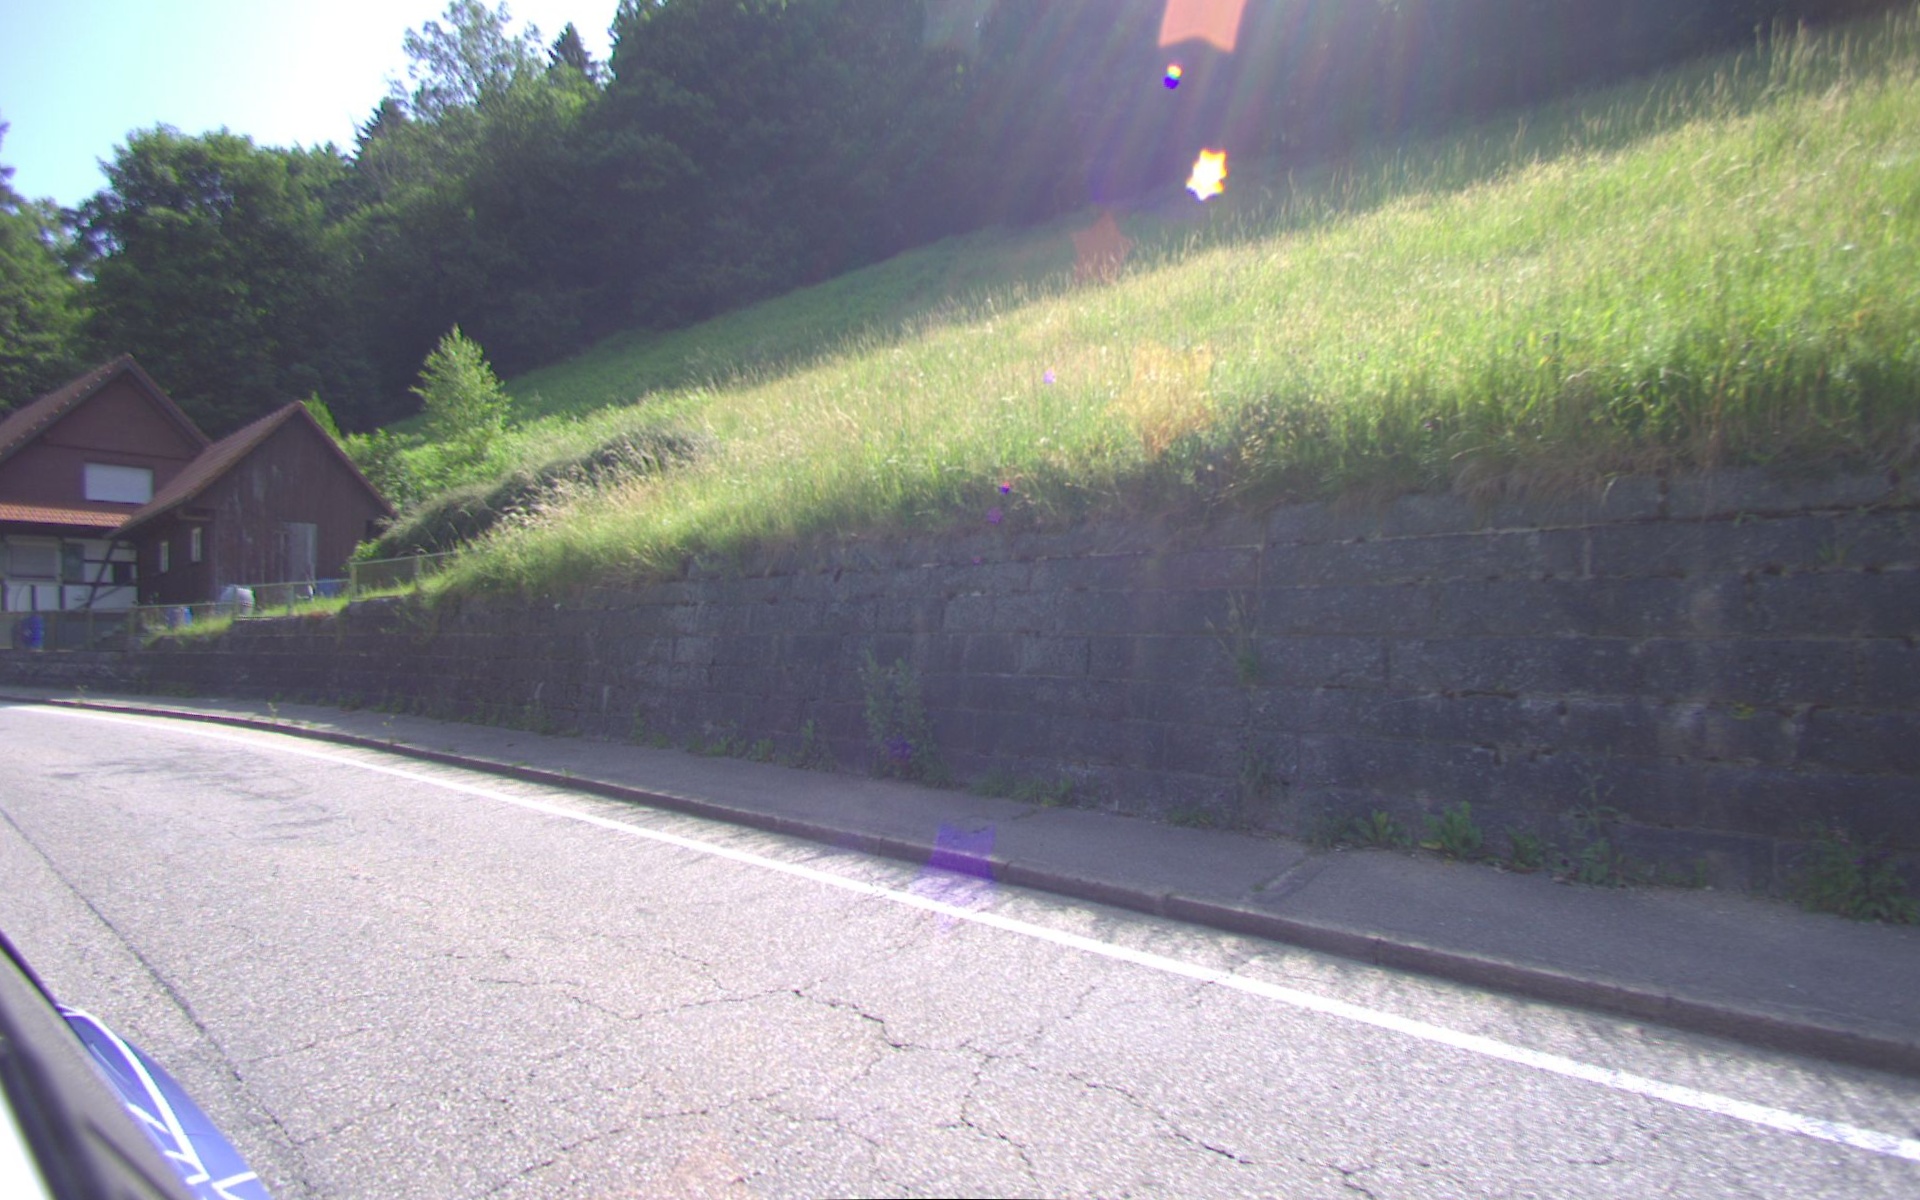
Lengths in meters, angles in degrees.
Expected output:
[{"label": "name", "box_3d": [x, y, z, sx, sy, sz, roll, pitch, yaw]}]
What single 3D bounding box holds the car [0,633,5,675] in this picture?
[{"label": "car", "box_3d": [-34.952, 1.858, 34.014, 1.855, 1.444, 3.792, 0, -1, 28]}]
